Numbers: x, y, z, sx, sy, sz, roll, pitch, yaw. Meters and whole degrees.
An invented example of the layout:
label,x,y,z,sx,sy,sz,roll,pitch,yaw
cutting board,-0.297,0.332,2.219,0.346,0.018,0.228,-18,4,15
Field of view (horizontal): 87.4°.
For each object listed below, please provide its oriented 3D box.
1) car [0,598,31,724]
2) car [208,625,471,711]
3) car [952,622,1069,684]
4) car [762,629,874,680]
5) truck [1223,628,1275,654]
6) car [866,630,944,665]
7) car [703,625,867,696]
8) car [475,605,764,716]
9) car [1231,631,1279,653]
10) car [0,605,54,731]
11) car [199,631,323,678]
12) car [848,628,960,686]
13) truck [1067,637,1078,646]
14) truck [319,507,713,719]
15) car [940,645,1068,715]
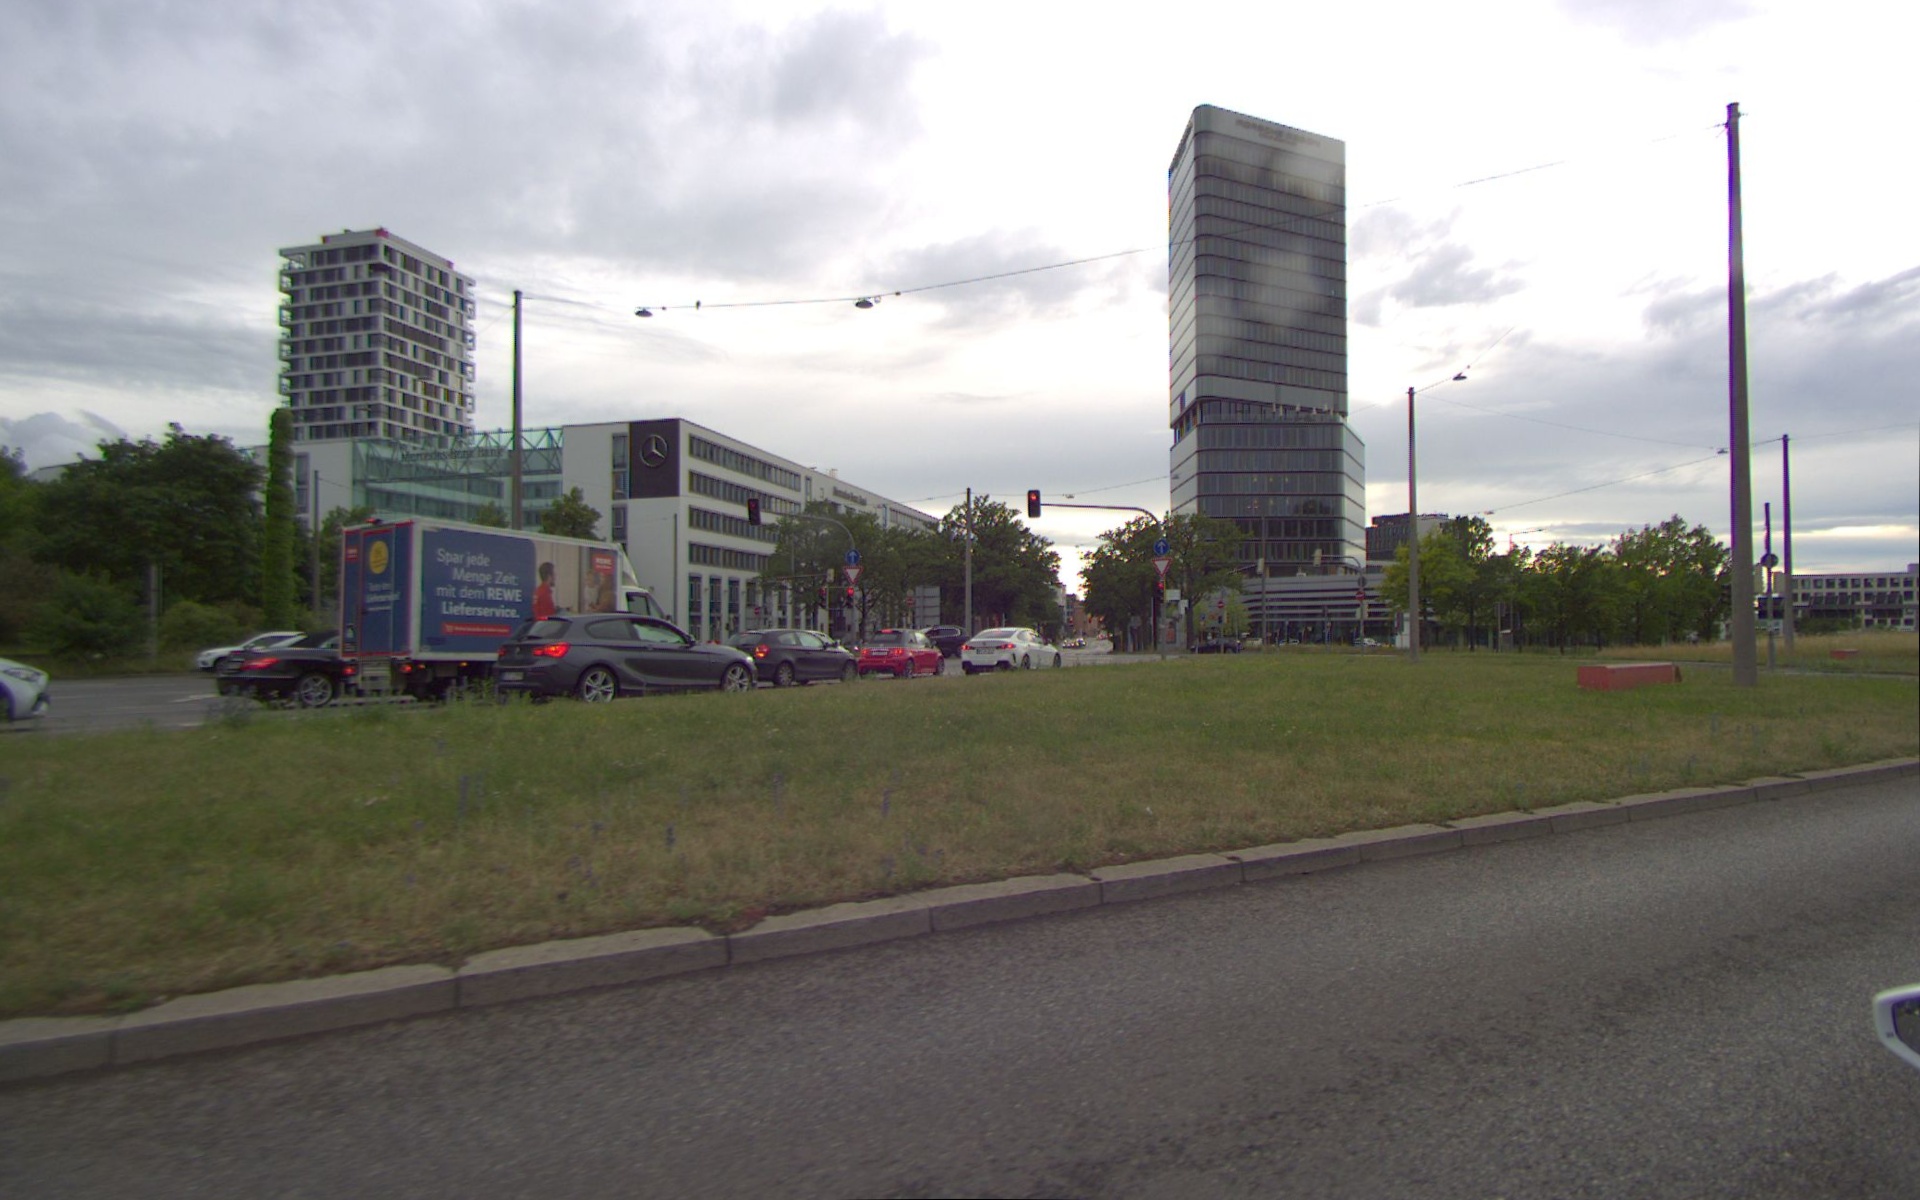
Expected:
label,x,y,z,sx,sy,sz,roll,pitch,yaw
car,-15.107,0.865,13.184,1.815,1.704,4.055,2,2,38
car,-11.462,1.183,18.820,1.729,1.390,3.860,-1,-1,30
car,1.570,1.519,29.226,1.889,1.665,4.388,-1,-3,25
car,-4.432,1.712,31.780,1.555,1.499,3.769,-1,-3,29
truck,23.230,3.293,80.792,3.919,2.040,2.001,0,-1,13
car,-2.840,2.411,51.903,3.686,1.639,1.737,0,0,-22
car,-4.278,1.437,25.086,1.964,1.587,3.993,-1,-1,30
car,-5.205,0.859,15.807,1.845,1.481,3.962,-2,-1,36
car,22.572,3.199,76.943,3.499,1.582,1.648,0,0,16
car,-12.889,0.804,10.760,1.816,1.454,4.502,-3,-3,38
car,-25.843,1.967,37.294,3.699,1.620,1.854,1,-1,-34
car,-1.631,1.718,30.810,1.785,1.644,3.998,-1,-3,24
truck,24.481,8.992,218.046,1.960,2.040,4.001,0,-1,0
truck,-7.941,0.235,18.926,2.627,3.262,6.536,0,-1,30
car,1.493,2.656,34.096,3.925,2.041,1.887,0,2,25
